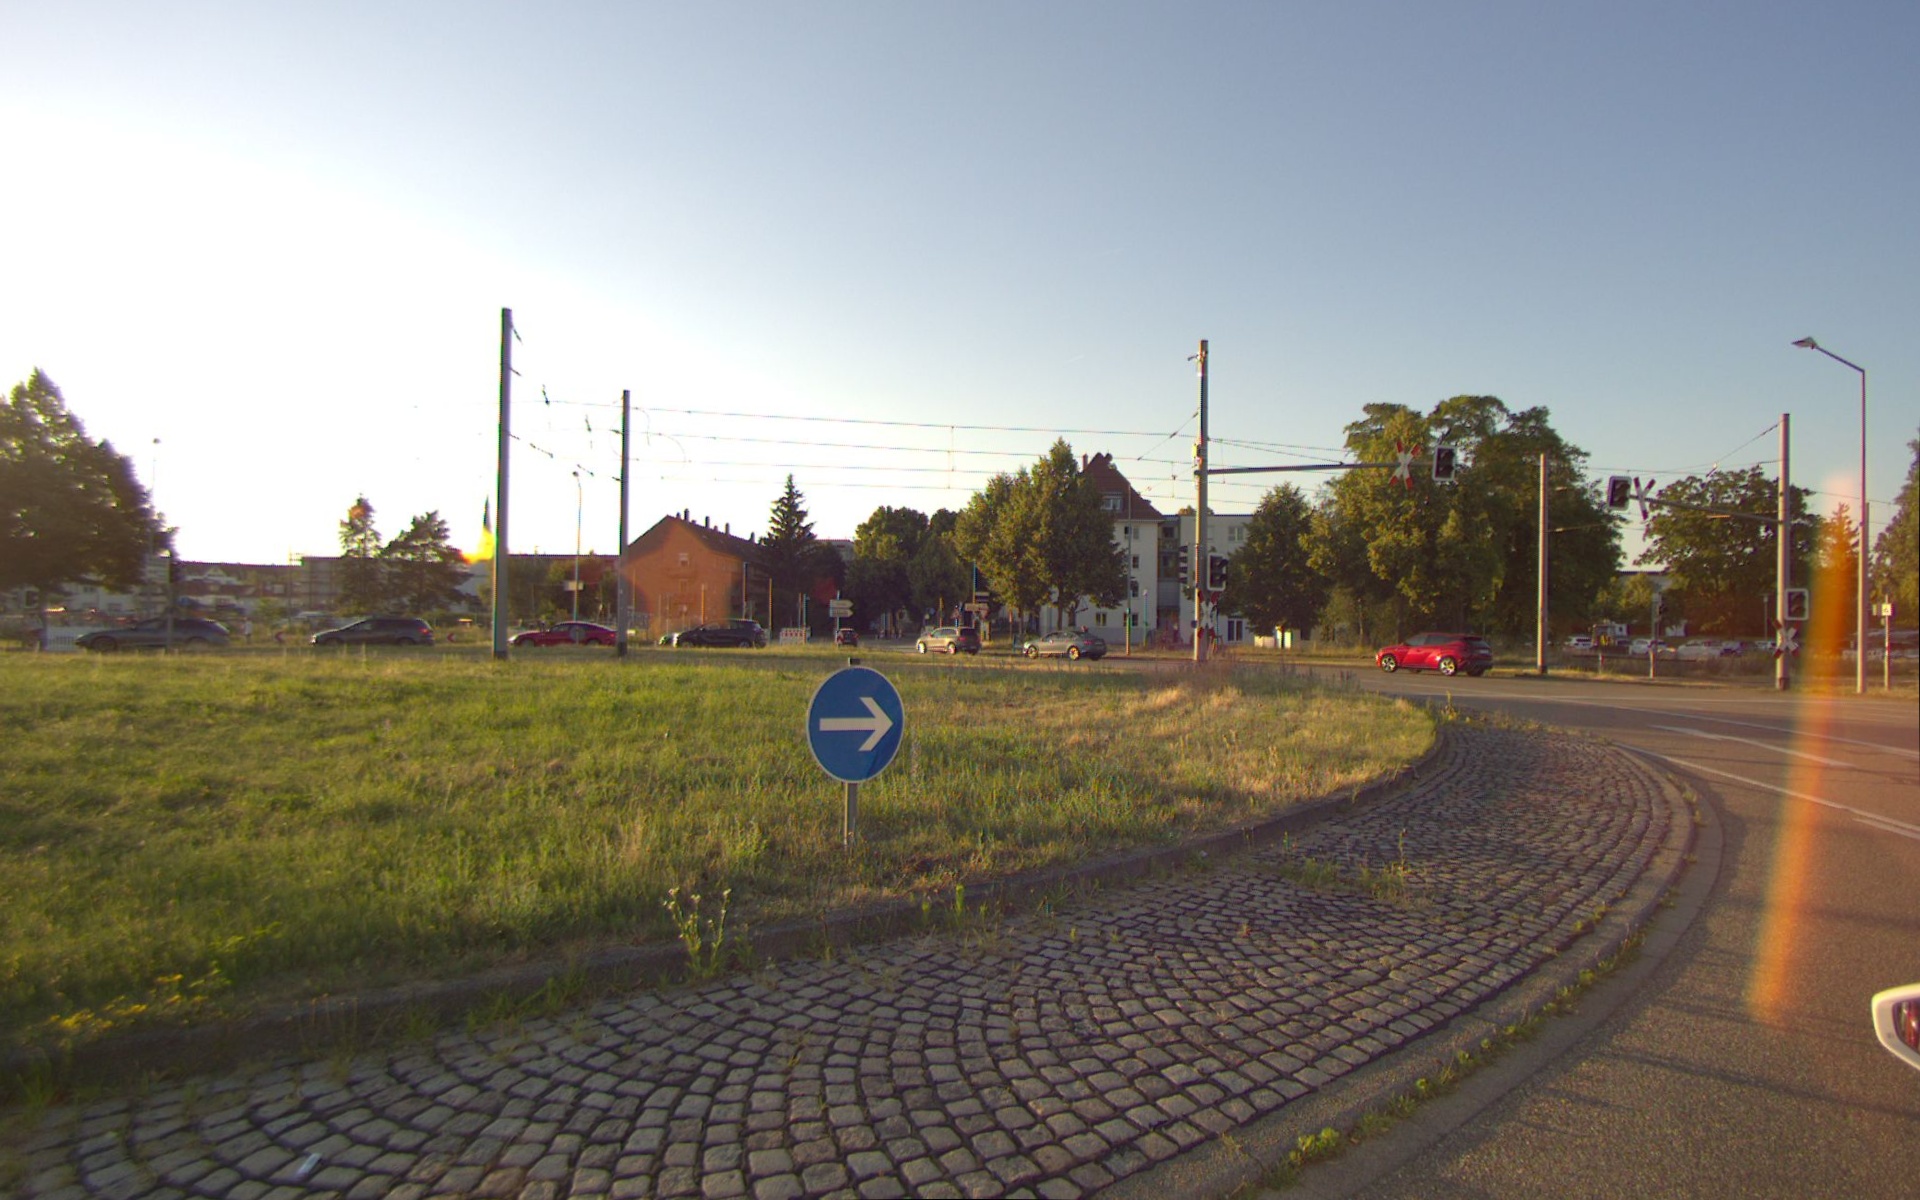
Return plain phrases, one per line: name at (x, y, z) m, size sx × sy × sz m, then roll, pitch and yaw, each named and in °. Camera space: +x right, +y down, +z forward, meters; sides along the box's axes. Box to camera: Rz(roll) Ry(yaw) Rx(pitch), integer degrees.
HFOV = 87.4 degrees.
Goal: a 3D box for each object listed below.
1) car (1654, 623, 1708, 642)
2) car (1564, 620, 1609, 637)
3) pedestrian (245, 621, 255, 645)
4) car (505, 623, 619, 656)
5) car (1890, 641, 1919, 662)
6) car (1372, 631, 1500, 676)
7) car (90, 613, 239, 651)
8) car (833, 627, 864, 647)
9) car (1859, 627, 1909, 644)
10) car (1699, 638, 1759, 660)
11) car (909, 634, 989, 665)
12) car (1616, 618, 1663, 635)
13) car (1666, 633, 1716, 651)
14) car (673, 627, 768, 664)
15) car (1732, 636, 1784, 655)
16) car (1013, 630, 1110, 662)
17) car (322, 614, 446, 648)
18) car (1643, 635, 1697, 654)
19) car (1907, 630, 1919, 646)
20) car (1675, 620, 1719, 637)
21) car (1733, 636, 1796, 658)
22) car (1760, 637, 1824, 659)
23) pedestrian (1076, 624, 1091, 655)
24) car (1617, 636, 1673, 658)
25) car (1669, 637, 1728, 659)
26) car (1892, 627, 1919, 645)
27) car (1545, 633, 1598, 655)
car at (80.212, 3.648, 111.755) m, size 4.507 × 2.040 × 2.000 m, roll 1°, pitch -1°, yaw 0°
car at (79.561, 3.655, 127.639) m, size 4.507 × 2.040 × 2.000 m, roll 1°, pitch -1°, yaw 0°
pedestrian at (-41.178, 1.913, 58.265) m, size 0.392 × 1.325 × 0.426 m, roll 1°, pitch -1°, yaw -30°
car at (-17.729, 1.762, 44.932) m, size 4.416 × 1.410 × 1.892 m, roll 1°, pitch -1°, yaw -10°
car at (76.338, 4.088, 79.489) m, size 1.960 × 1.625 × 4.002 m, roll 1°, pitch -1°, yaw 3°
car at (18.683, 2.072, 39.673) m, size 1.971 × 1.594 × 4.392 m, roll 1°, pitch -1°, yaw -23°
car at (-30.993, 1.250, 39.312) m, size 4.302 × 1.394 × 1.983 m, roll 1°, pitch -1°, yaw -31°
car at (-8.802, 2.900, 79.115) m, size 1.667 × 1.371 × 3.988 m, roll -8°, pitch 0°, yaw -15°
car at (108.014, 4.129, 117.466) m, size 3.919 × 1.840 × 2.001 m, roll 1°, pitch -1°, yaw 5°
car at (61.620, 3.912, 80.574) m, size 1.960 × 1.625 × 4.002 m, roll 1°, pitch -1°, yaw 3°
car at (-0.676, 2.903, 59.836) m, size 4.448 × 1.659 × 1.995 m, roll 0°, pitch -1°, yaw 33°
car at (86.235, 3.386, 127.456) m, size 4.505 × 2.040 × 2.001 m, roll 1°, pitch -1°, yaw 5°
car at (73.145, 4.189, 100.590) m, size 3.934 × 1.684 × 1.994 m, roll 0°, pitch -1°, yaw 35°
car at (-10.860, 2.043, 45.774) m, size 3.924 × 1.605 × 1.894 m, roll 1°, pitch -1°, yaw -6°
car at (77.331, 4.420, 97.429) m, size 3.938 × 1.684 × 1.894 m, roll 0°, pitch -1°, yaw 39°
car at (5.029, 2.259, 50.225) m, size 4.601 × 1.483 × 1.878 m, roll 0°, pitch -1°, yaw 41°
car at (-24.312, 1.318, 42.575) m, size 4.323 × 1.394 × 1.989 m, roll 1°, pitch -1°, yaw -24°
car at (69.194, 4.331, 97.946) m, size 3.919 × 1.684 × 1.904 m, roll 1°, pitch -1°, yaw 5°
car at (105.568, 4.112, 108.737) m, size 1.971 × 1.728 × 3.979 m, roll 1°, pitch -1°, yaw -22°
car at (93.186, 3.592, 127.047) m, size 4.033 × 2.040 × 2.001 m, roll 1°, pitch -1°, yaw 4°
car at (64.001, 3.717, 79.945) m, size 1.960 × 1.625 × 4.002 m, roll 1°, pitch -1°, yaw 3°
car at (66.354, 3.789, 80.184) m, size 1.960 × 1.625 × 4.002 m, roll 1°, pitch -1°, yaw 3°
pedestrian at (7.959, 2.544, 64.671) m, size 0.614 × 1.918 × 0.662 m, roll 2°, pitch 0°, yaw -35°
car at (54.742, 3.703, 80.350) m, size 1.960 × 1.625 × 4.002 m, roll 1°, pitch -1°, yaw 3°
car at (59.501, 3.850, 81.051) m, size 1.960 × 1.625 × 4.002 m, roll 1°, pitch -1°, yaw 3°
car at (107.435, 4.029, 112.614) m, size 3.919 × 2.040 × 2.001 m, roll 1°, pitch -1°, yaw 11°
car at (49.399, 3.546, 81.242) m, size 1.960 × 1.625 × 4.002 m, roll 1°, pitch -1°, yaw 3°
